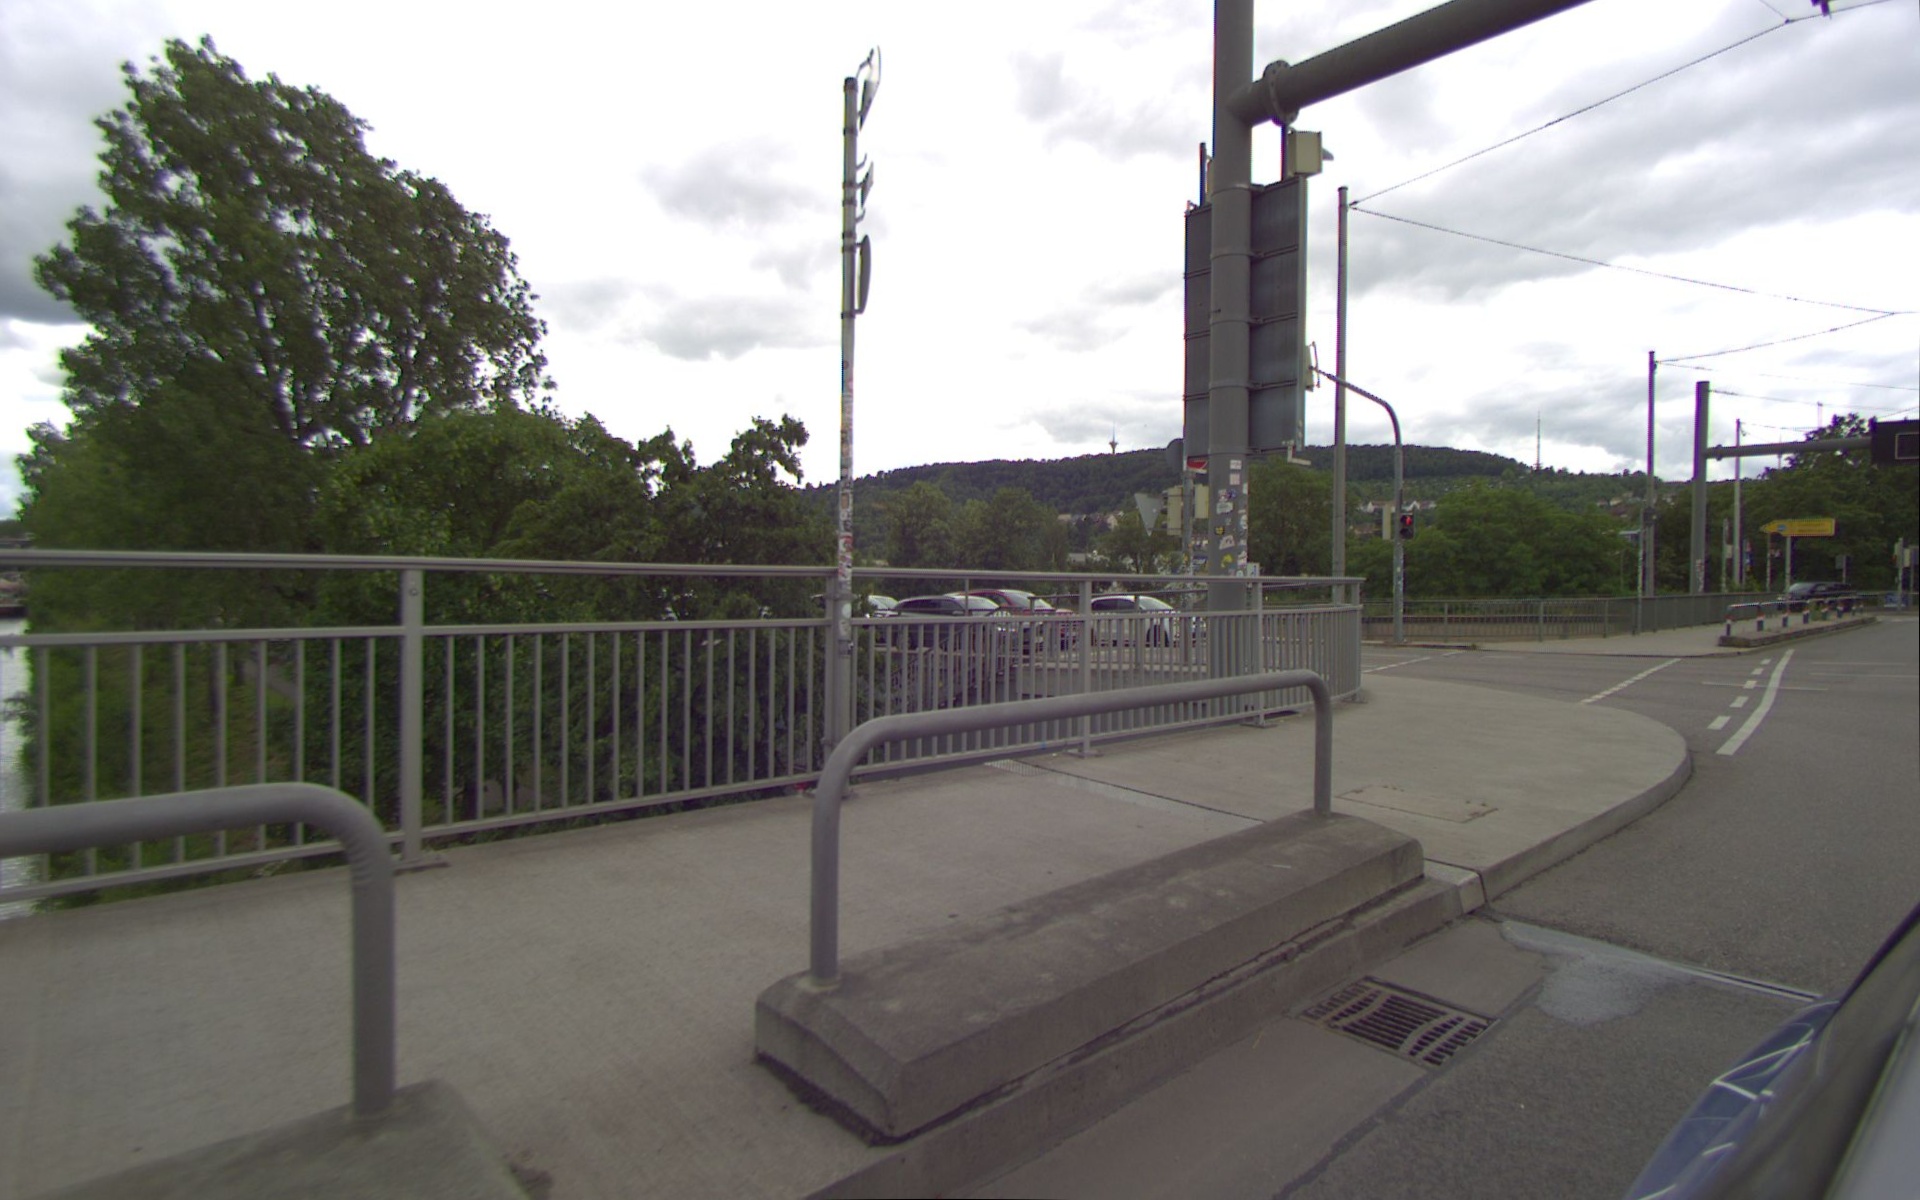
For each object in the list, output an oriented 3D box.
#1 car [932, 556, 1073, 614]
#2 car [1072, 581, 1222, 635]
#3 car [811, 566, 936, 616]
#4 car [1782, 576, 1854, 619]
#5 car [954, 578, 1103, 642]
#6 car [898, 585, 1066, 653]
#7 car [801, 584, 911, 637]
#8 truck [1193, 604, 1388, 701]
[{"bbox_3d":[1.278,-0.463,32.110,1.967,1.639,4.334,-4,3,-42],"label":"car"},{"bbox_3d":[5.135,0.195,28.105,1.762,1.329,3.756,-4,3,-43],"label":"car"},{"bbox_3d":[-3.245,-0.328,37.188,1.967,1.639,4.952,-4,3,-42],"label":"car"},{"bbox_3d":[47.633,-0.186,56.173,4.866,1.938,2.330,-5,6,-41],"label":"car"},{"bbox_3d":[1.815,0.257,27.854,1.668,1.558,3.999,-4,3,-43],"label":"car"},{"bbox_3d":[0.467,0.424,24.927,1.669,1.438,4.142,-4,3,-44],"label":"car"},{"bbox_3d":[-3.393,0.310,32.779,1.668,1.558,3.615,-3,2,-43],"label":"car"},{"bbox_3d":[17.781,2.647,55.227,2.857,4.232,10.003,-6,6,-43],"label":"truck"}]
